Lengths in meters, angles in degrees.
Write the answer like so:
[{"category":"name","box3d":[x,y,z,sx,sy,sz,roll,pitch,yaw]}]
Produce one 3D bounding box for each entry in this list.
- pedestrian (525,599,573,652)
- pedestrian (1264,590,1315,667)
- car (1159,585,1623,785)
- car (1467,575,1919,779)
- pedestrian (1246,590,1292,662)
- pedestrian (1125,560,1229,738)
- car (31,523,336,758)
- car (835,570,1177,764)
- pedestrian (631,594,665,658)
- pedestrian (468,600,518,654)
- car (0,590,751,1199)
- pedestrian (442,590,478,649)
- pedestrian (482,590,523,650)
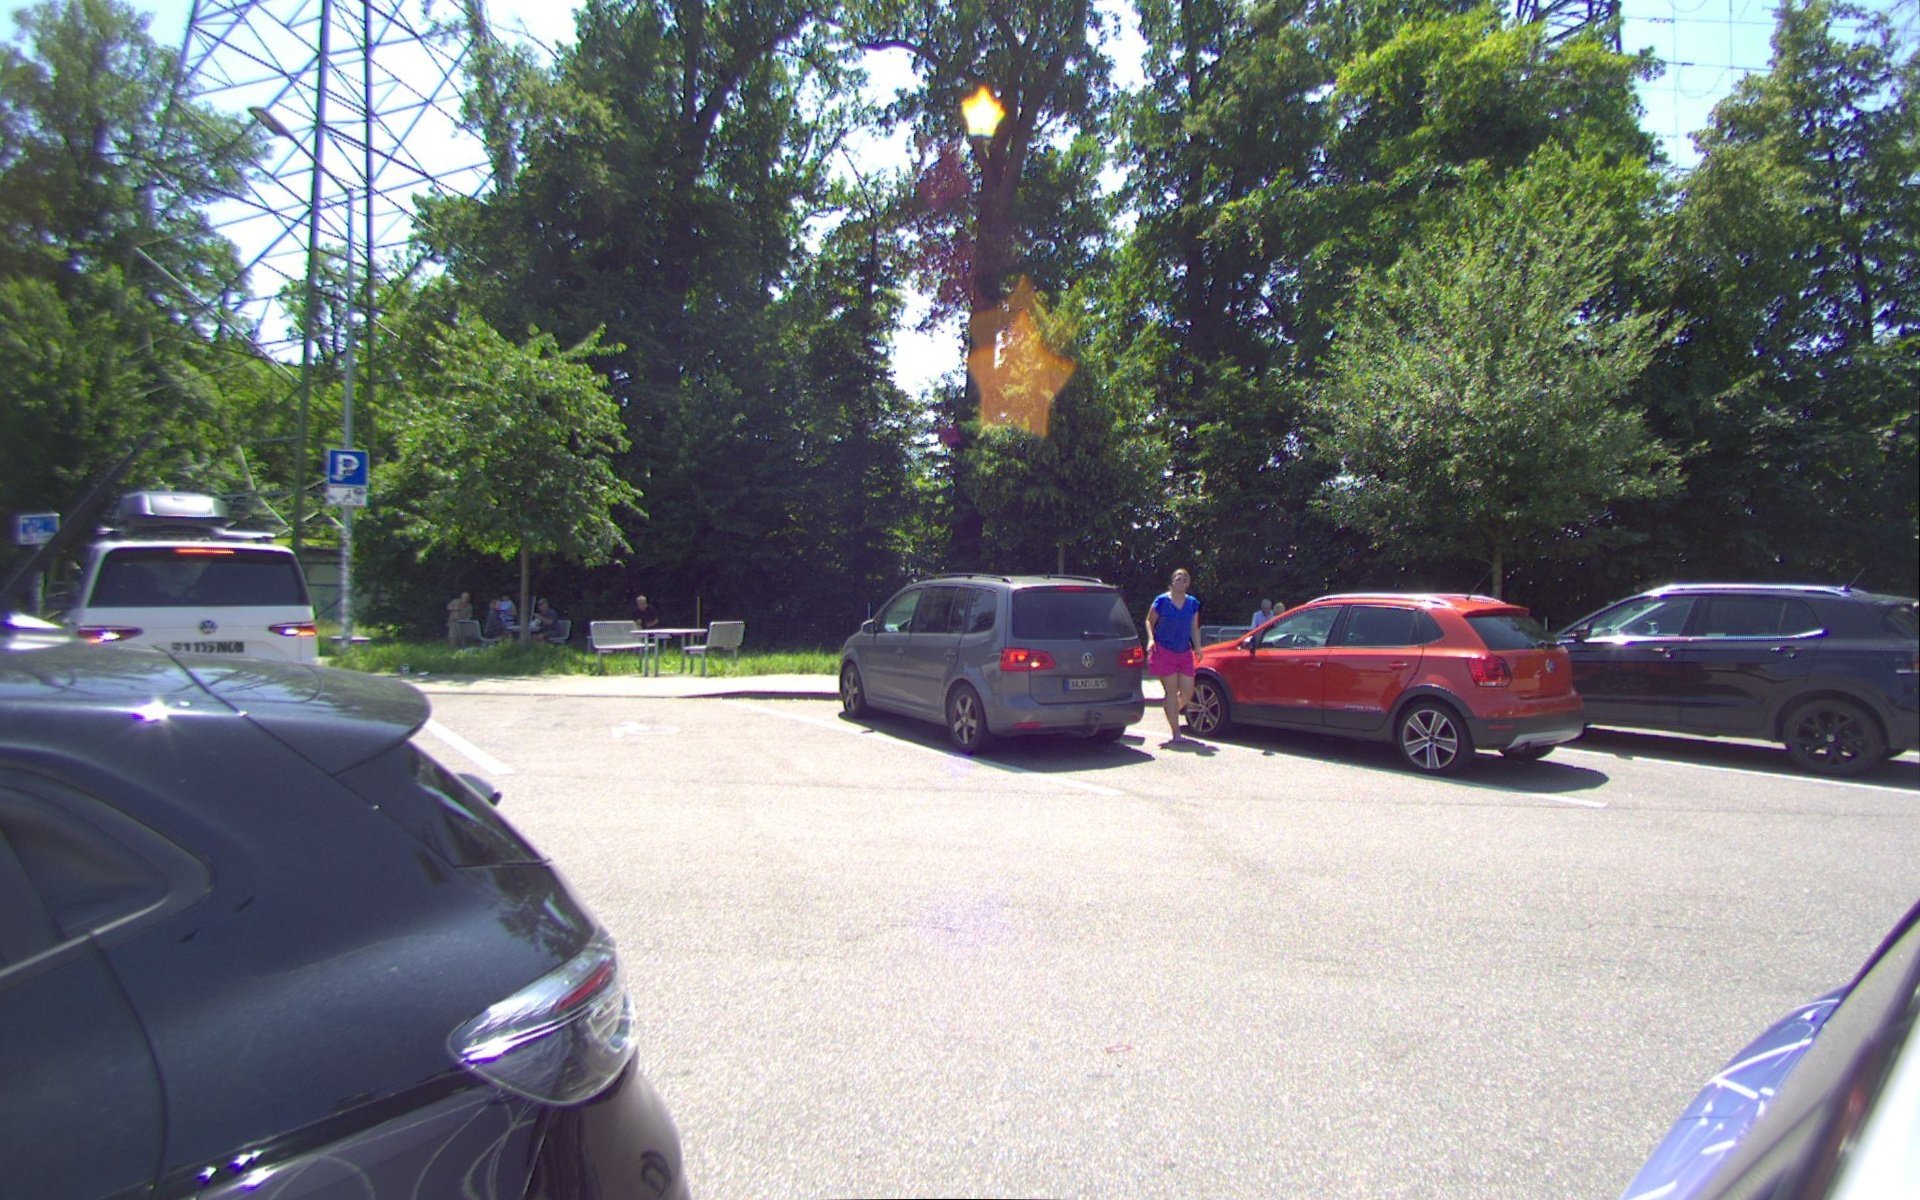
[{"category":"pedestrian","box3d":[-9.602,0.578,23.635,0.873,1.192,0.668,0,0,-41]},{"category":"pedestrian","box3d":[5.779,0.487,17.772,0.657,1.311,0.783,0,0,3]},{"category":"car","box3d":[3.852,0.610,9.657,1.687,1.484,3.793,0,1,-32]},{"category":"car","box3d":[7.178,0.574,9.716,1.690,1.593,3.787,0,1,-39]},{"category":"pedestrian","box3d":[5.784,0.475,18.977,0.657,1.311,0.783,0,0,3]},{"category":"pedestrian","box3d":[2.139,0.468,10.078,0.903,1.703,0.733,0,0,5]},{"category":"car","box3d":[-8.257,0.290,10.590,4.549,1.936,1.882,1,1,44]},{"category":"car","box3d":[0.251,0.518,10.527,1.713,1.601,3.996,0,1,-29]},{"category":"pedestrian","box3d":[-6.562,0.523,21.285,0.655,1.311,0.786,0,0,-16]},{"category":"pedestrian","box3d":[-10.518,0.591,22.780,0.873,1.192,0.668,0,0,-41]},{"category":"car","box3d":[-2.206,0.721,0.608,1.737,1.501,3.757,0,0,44]},{"category":"pedestrian","box3d":[-12.275,0.467,24.849,0.657,1.422,0.649,0,0,-39]},{"category":"pedestrian","box3d":[-11.063,0.462,24.476,0.664,1.422,0.643,0,0,32]}]
